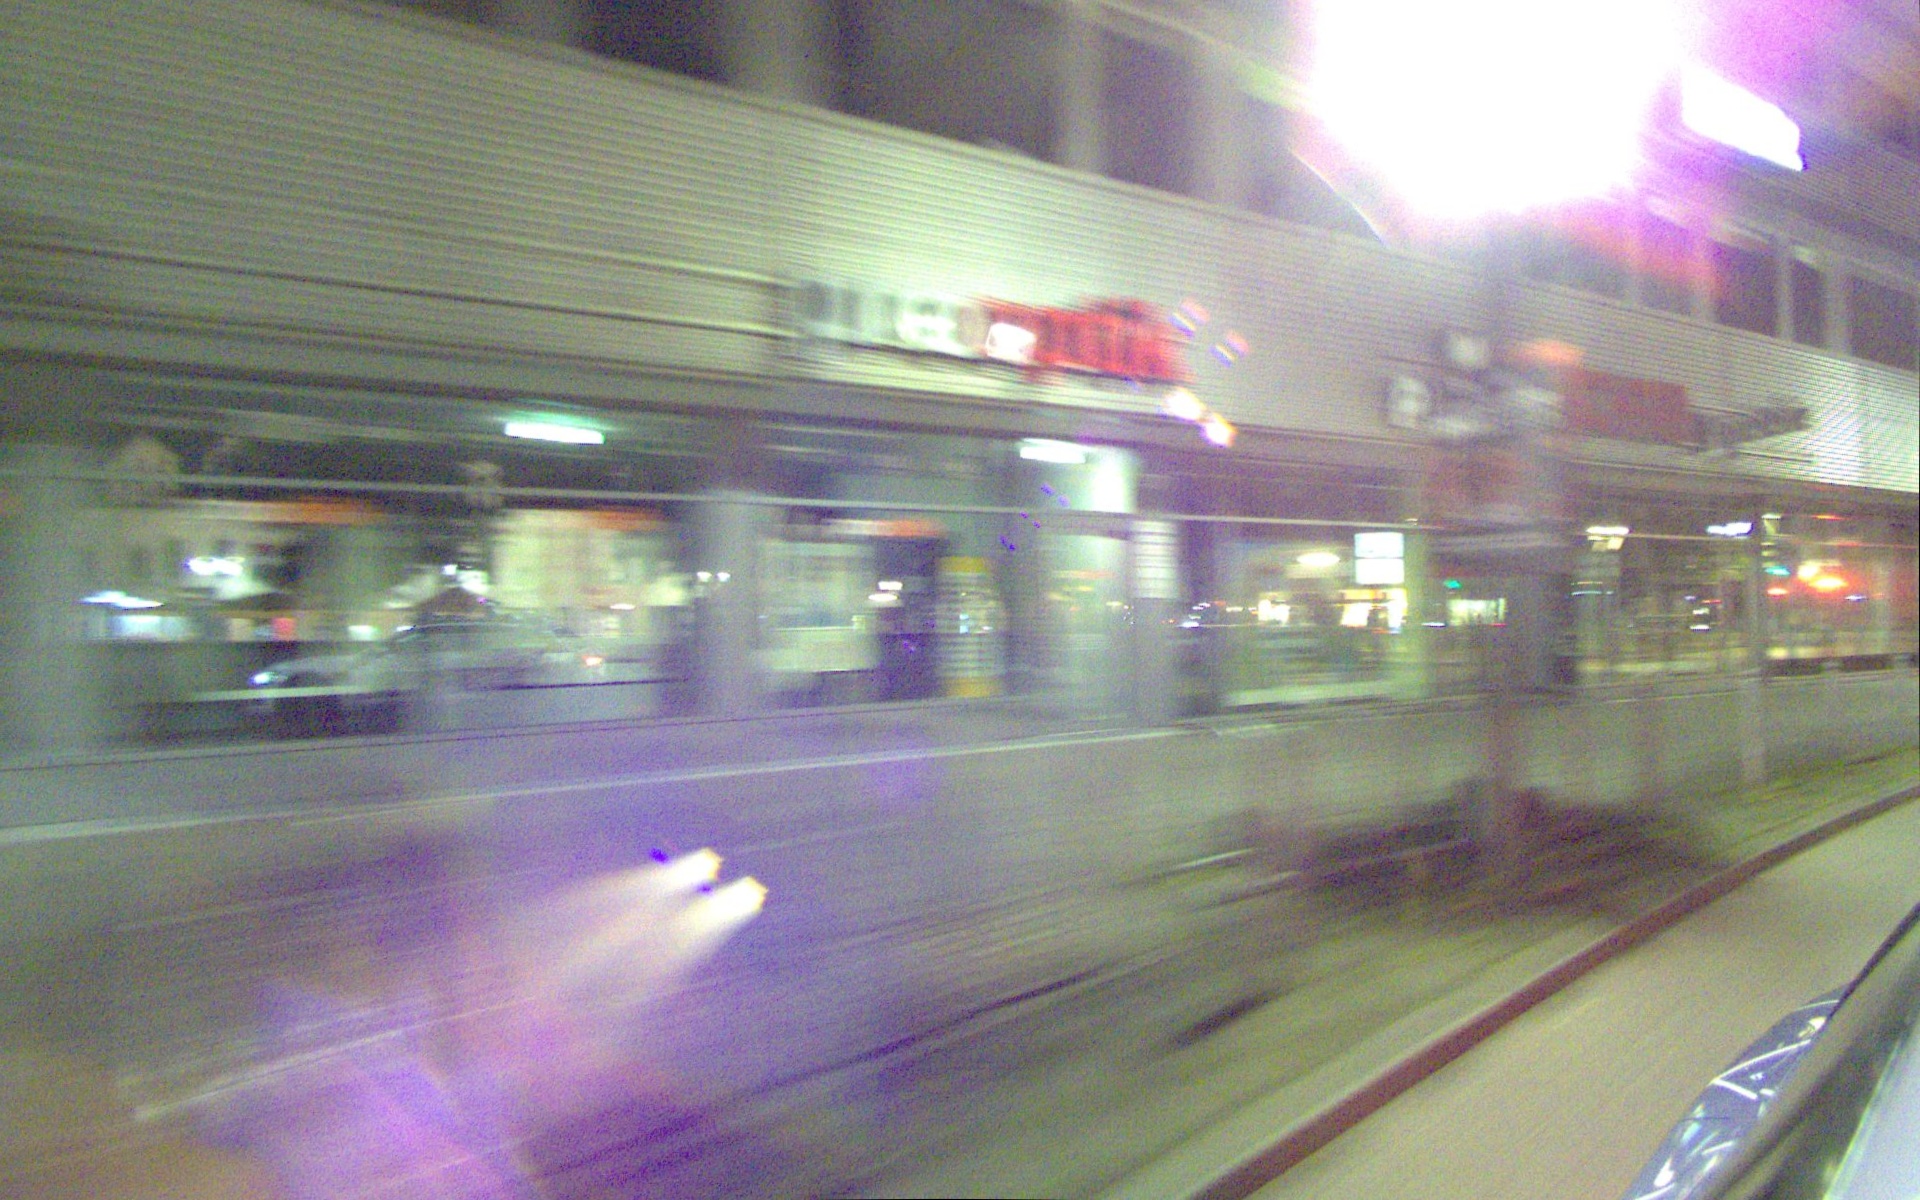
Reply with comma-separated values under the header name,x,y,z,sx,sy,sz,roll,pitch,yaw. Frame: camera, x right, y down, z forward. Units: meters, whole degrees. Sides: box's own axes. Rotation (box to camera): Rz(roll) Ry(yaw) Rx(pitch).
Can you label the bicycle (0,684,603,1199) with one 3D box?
name,x,y,z,sx,sy,sz,roll,pitch,yaw
bicycle,-1.495,0.773,2.029,1.746,1.076,0.646,0,-1,39
